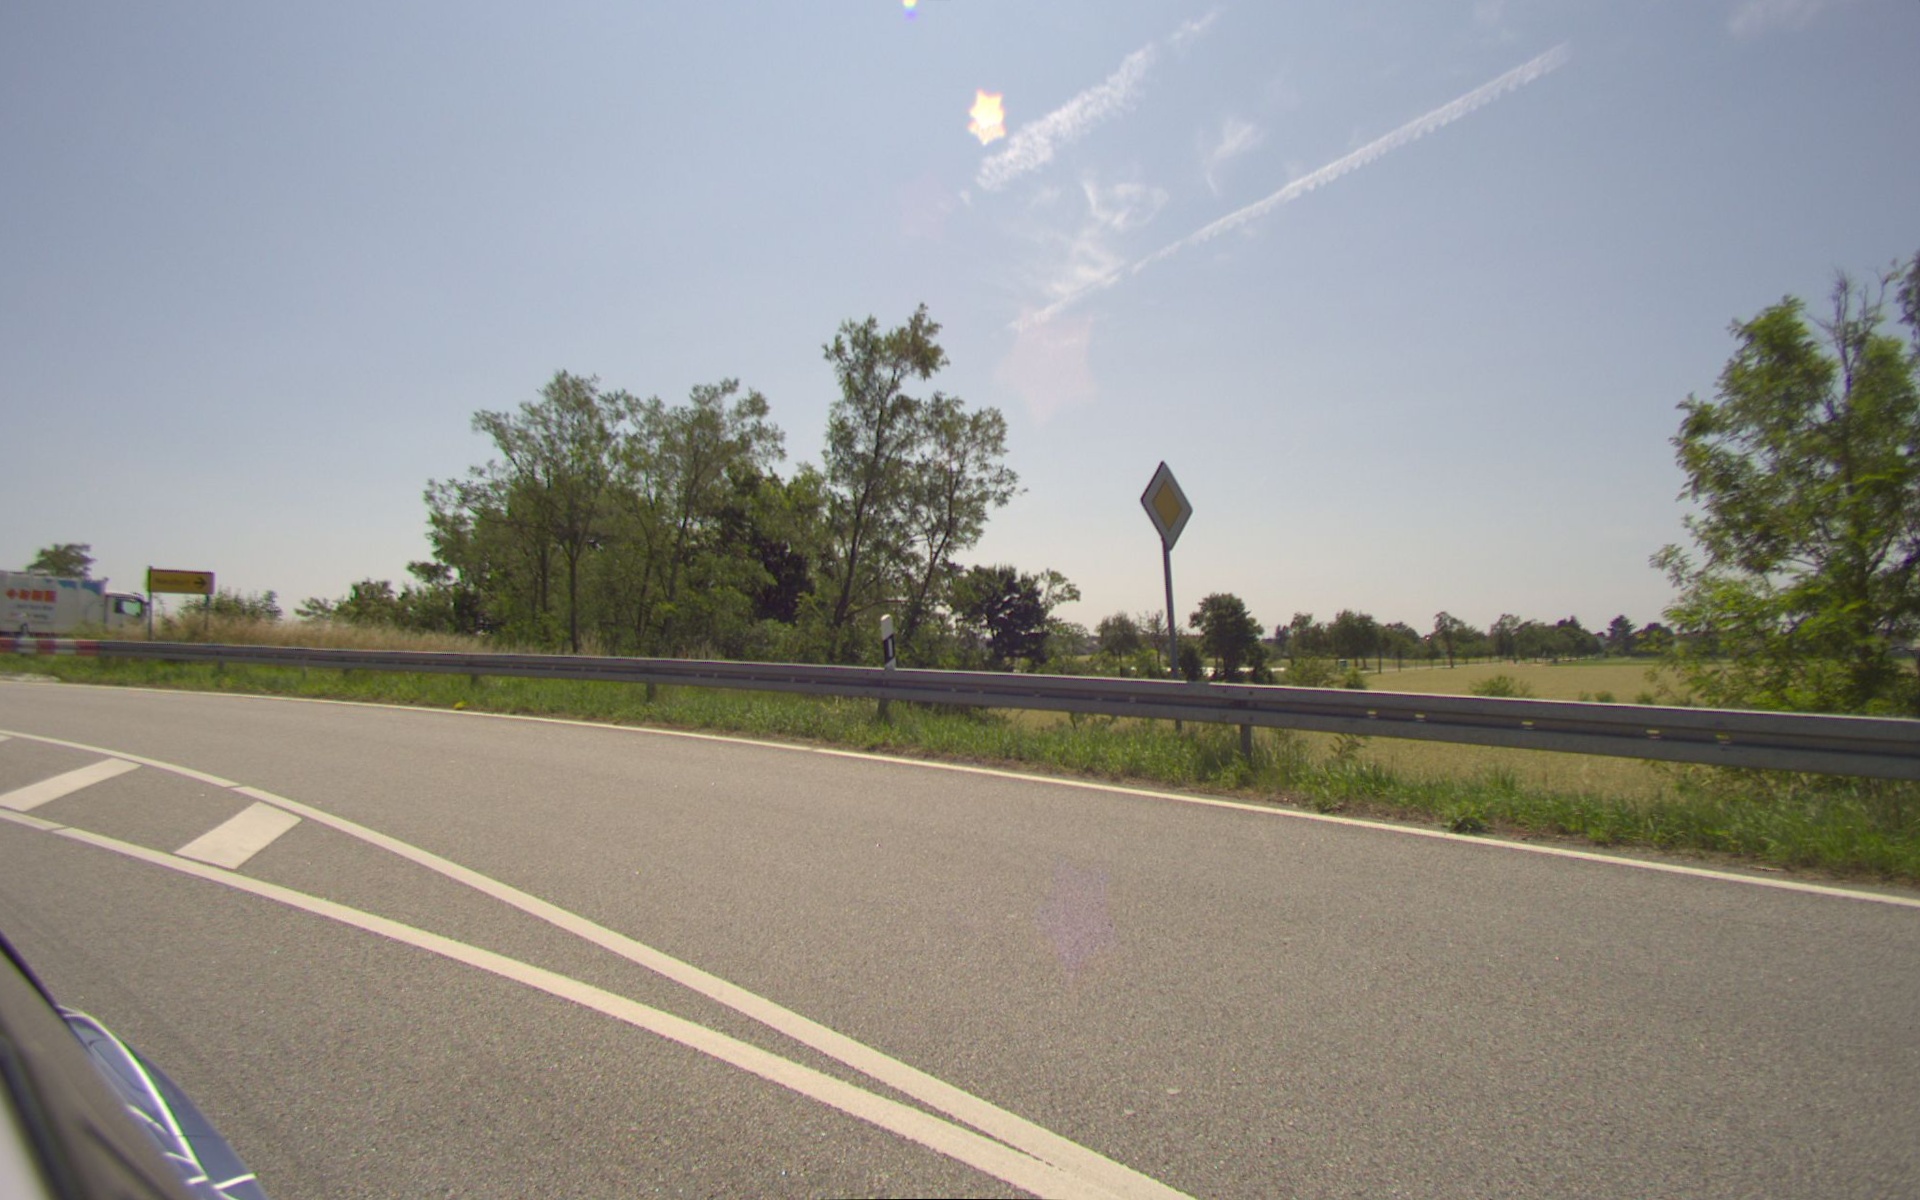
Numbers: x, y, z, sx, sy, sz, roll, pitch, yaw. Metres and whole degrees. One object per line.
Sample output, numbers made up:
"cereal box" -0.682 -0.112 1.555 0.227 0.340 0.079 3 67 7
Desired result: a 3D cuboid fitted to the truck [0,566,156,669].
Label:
"truck" -36.293 0.672 38.356 2.787 3.697 9.929 2 -4 6
